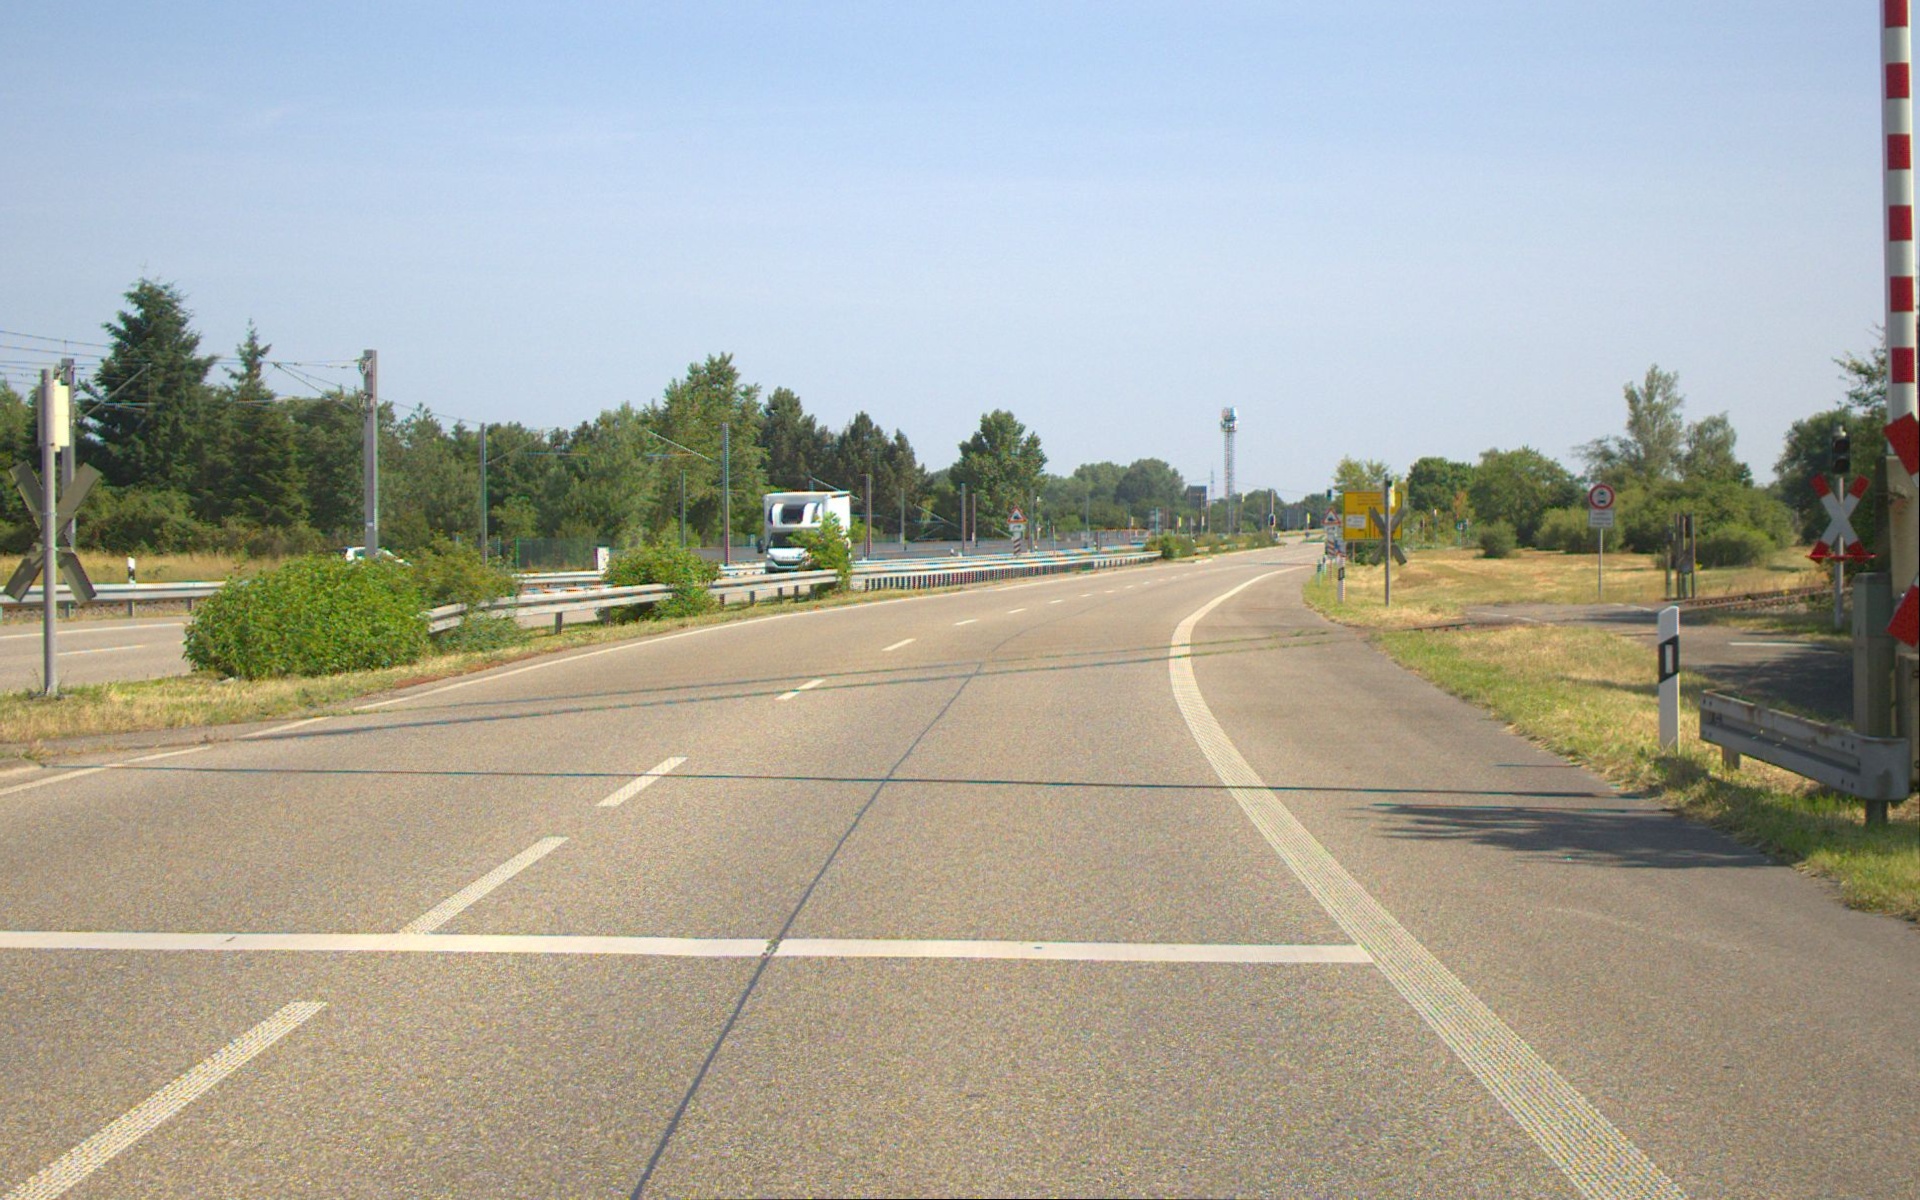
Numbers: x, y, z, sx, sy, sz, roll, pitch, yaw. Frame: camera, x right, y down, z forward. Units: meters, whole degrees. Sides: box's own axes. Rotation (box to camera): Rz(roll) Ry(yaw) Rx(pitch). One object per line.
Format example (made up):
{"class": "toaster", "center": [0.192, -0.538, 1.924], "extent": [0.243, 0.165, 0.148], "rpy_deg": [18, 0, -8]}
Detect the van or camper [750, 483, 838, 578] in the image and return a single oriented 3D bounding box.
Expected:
{"class": "van or camper", "center": [-6.572, -2.781, 137.143], "extent": [2.876, 3.668, 8.644], "rpy_deg": [0, 1, 2]}
